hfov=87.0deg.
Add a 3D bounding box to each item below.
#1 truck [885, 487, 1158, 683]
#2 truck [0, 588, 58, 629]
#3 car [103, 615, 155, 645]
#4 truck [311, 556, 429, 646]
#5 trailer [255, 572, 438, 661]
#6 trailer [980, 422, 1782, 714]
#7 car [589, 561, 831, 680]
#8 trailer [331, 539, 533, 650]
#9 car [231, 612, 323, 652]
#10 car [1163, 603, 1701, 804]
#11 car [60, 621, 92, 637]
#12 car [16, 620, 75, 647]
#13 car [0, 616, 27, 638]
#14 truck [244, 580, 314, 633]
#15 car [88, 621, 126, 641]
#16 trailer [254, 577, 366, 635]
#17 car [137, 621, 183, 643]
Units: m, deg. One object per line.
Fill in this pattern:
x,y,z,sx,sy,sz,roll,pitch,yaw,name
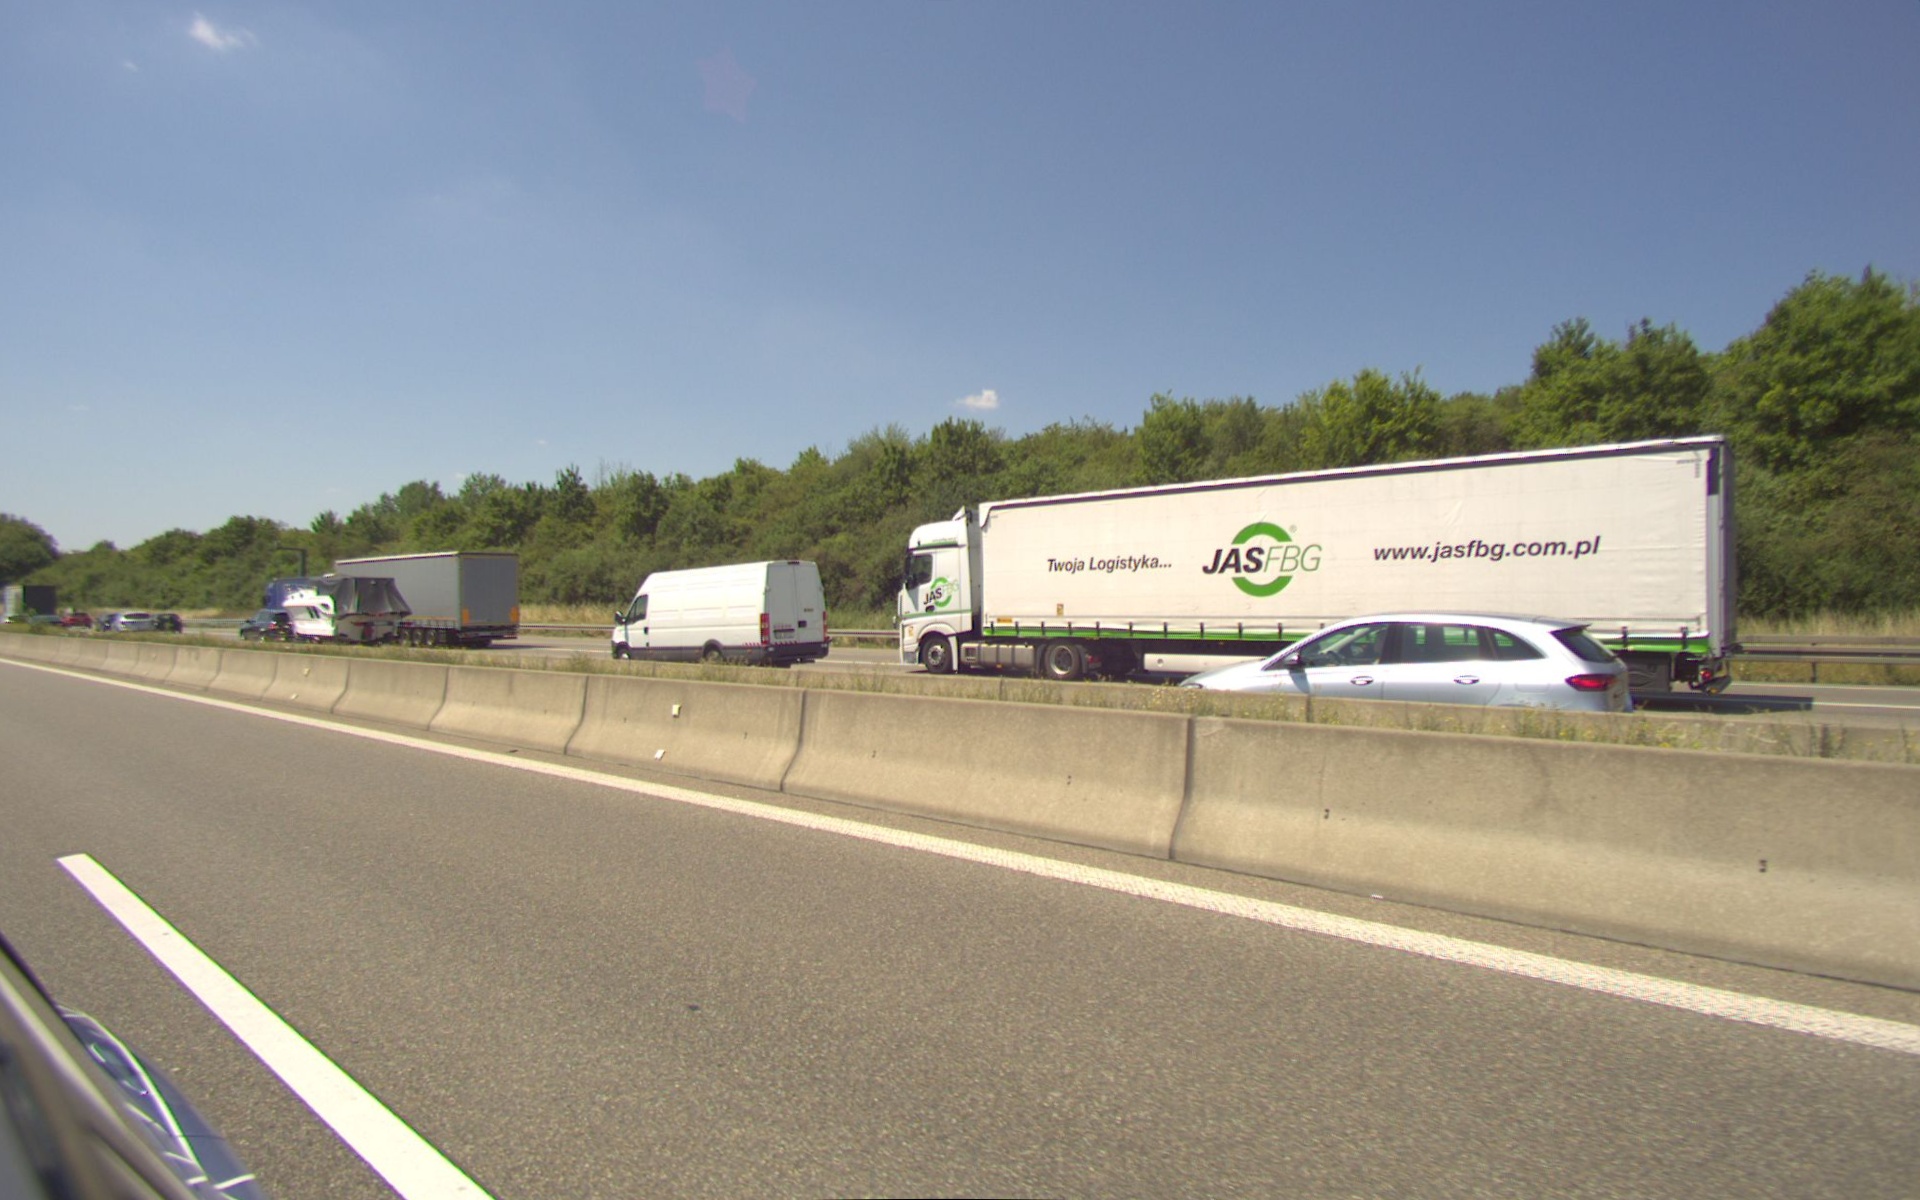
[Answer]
1.322,-0.270,23.863,5.972,4.037,2.818,-1,-1,41,truck
-93.116,0.868,100.955,10.344,3.946,2.979,-1,-1,39,truck
-48.068,1.696,58.535,4.443,1.690,1.821,-1,-1,44,car
-29.309,0.088,50.236,6.178,4.164,3.167,-1,-1,40,truck
-25.152,0.606,41.151,10.716,3.207,2.842,0,0,38,trailer
6.598,-0.325,19.237,13.871,3.902,2.873,-1,-1,42,trailer
-6.452,0.493,25.228,7.569,2.593,1.877,-1,-1,41,car
-24.424,-0.119,46.209,13.768,4.455,3.189,-1,-1,40,trailer
-31.088,1.394,46.000,4.925,1.736,2.086,-1,-1,38,car
4.593,0.859,10.287,4.592,1.590,1.973,-1,-1,41,car
-78.876,2.568,90.308,4.211,1.415,1.728,-1,-1,43,car
-55.582,2.007,61.474,4.302,1.532,1.974,-1,-1,38,car
-66.366,1.871,69.992,4.786,1.456,1.974,-1,-1,38,car
-54.543,0.557,81.015,6.088,4.059,3.058,-1,0,39,truck
-65.475,2.370,77.687,1.856,1.461,4.634,1,-1,-45,car
-49.439,0.530,76.682,14.482,4.001,3.049,-1,0,40,trailer
-56.688,2.240,71.688,4.308,1.532,1.972,-1,-1,43,car
